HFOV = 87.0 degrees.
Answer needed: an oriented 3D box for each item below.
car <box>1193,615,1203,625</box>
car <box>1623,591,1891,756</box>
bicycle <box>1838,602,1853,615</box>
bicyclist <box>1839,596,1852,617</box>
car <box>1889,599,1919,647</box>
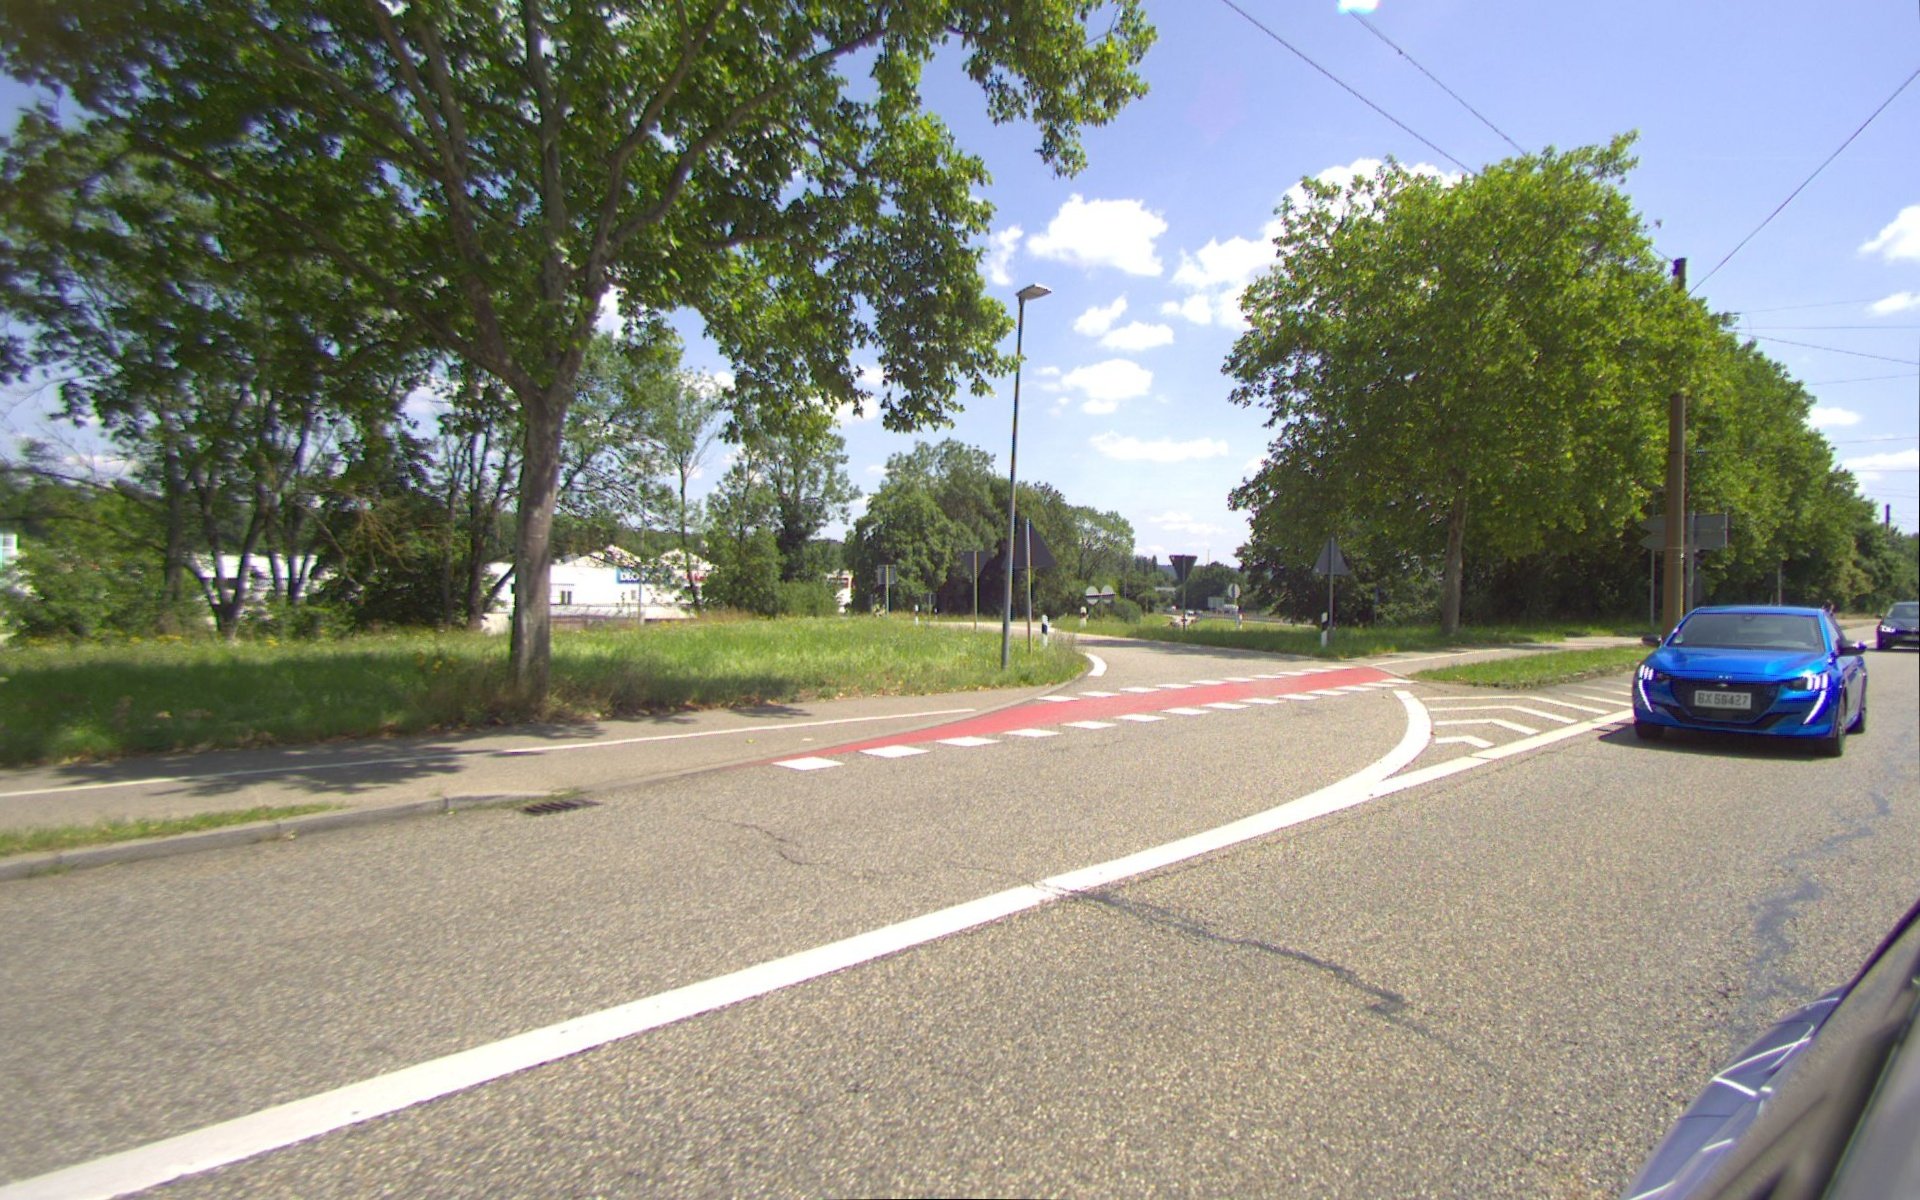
[{"bbox_3d":[53.148,4.369,225.952,1.974,2.039,4.537,1,1,18],"label":"car"},{"bbox_3d":[9.019,0.665,11.307,4.393,1.490,1.768,0,0,-44],"label":"car"},{"bbox_3d":[65.234,0.636,74.566,1.860,0.921,0.606,0,1,-43],"label":"bicycle"},{"bbox_3d":[65.357,0.479,74.656,0.931,1.492,0.606,1,0,-43],"label":"bicyclist"},{"bbox_3d":[30.648,0.696,31.908,3.933,1.448,1.768,0,0,-44],"label":"car"}]
